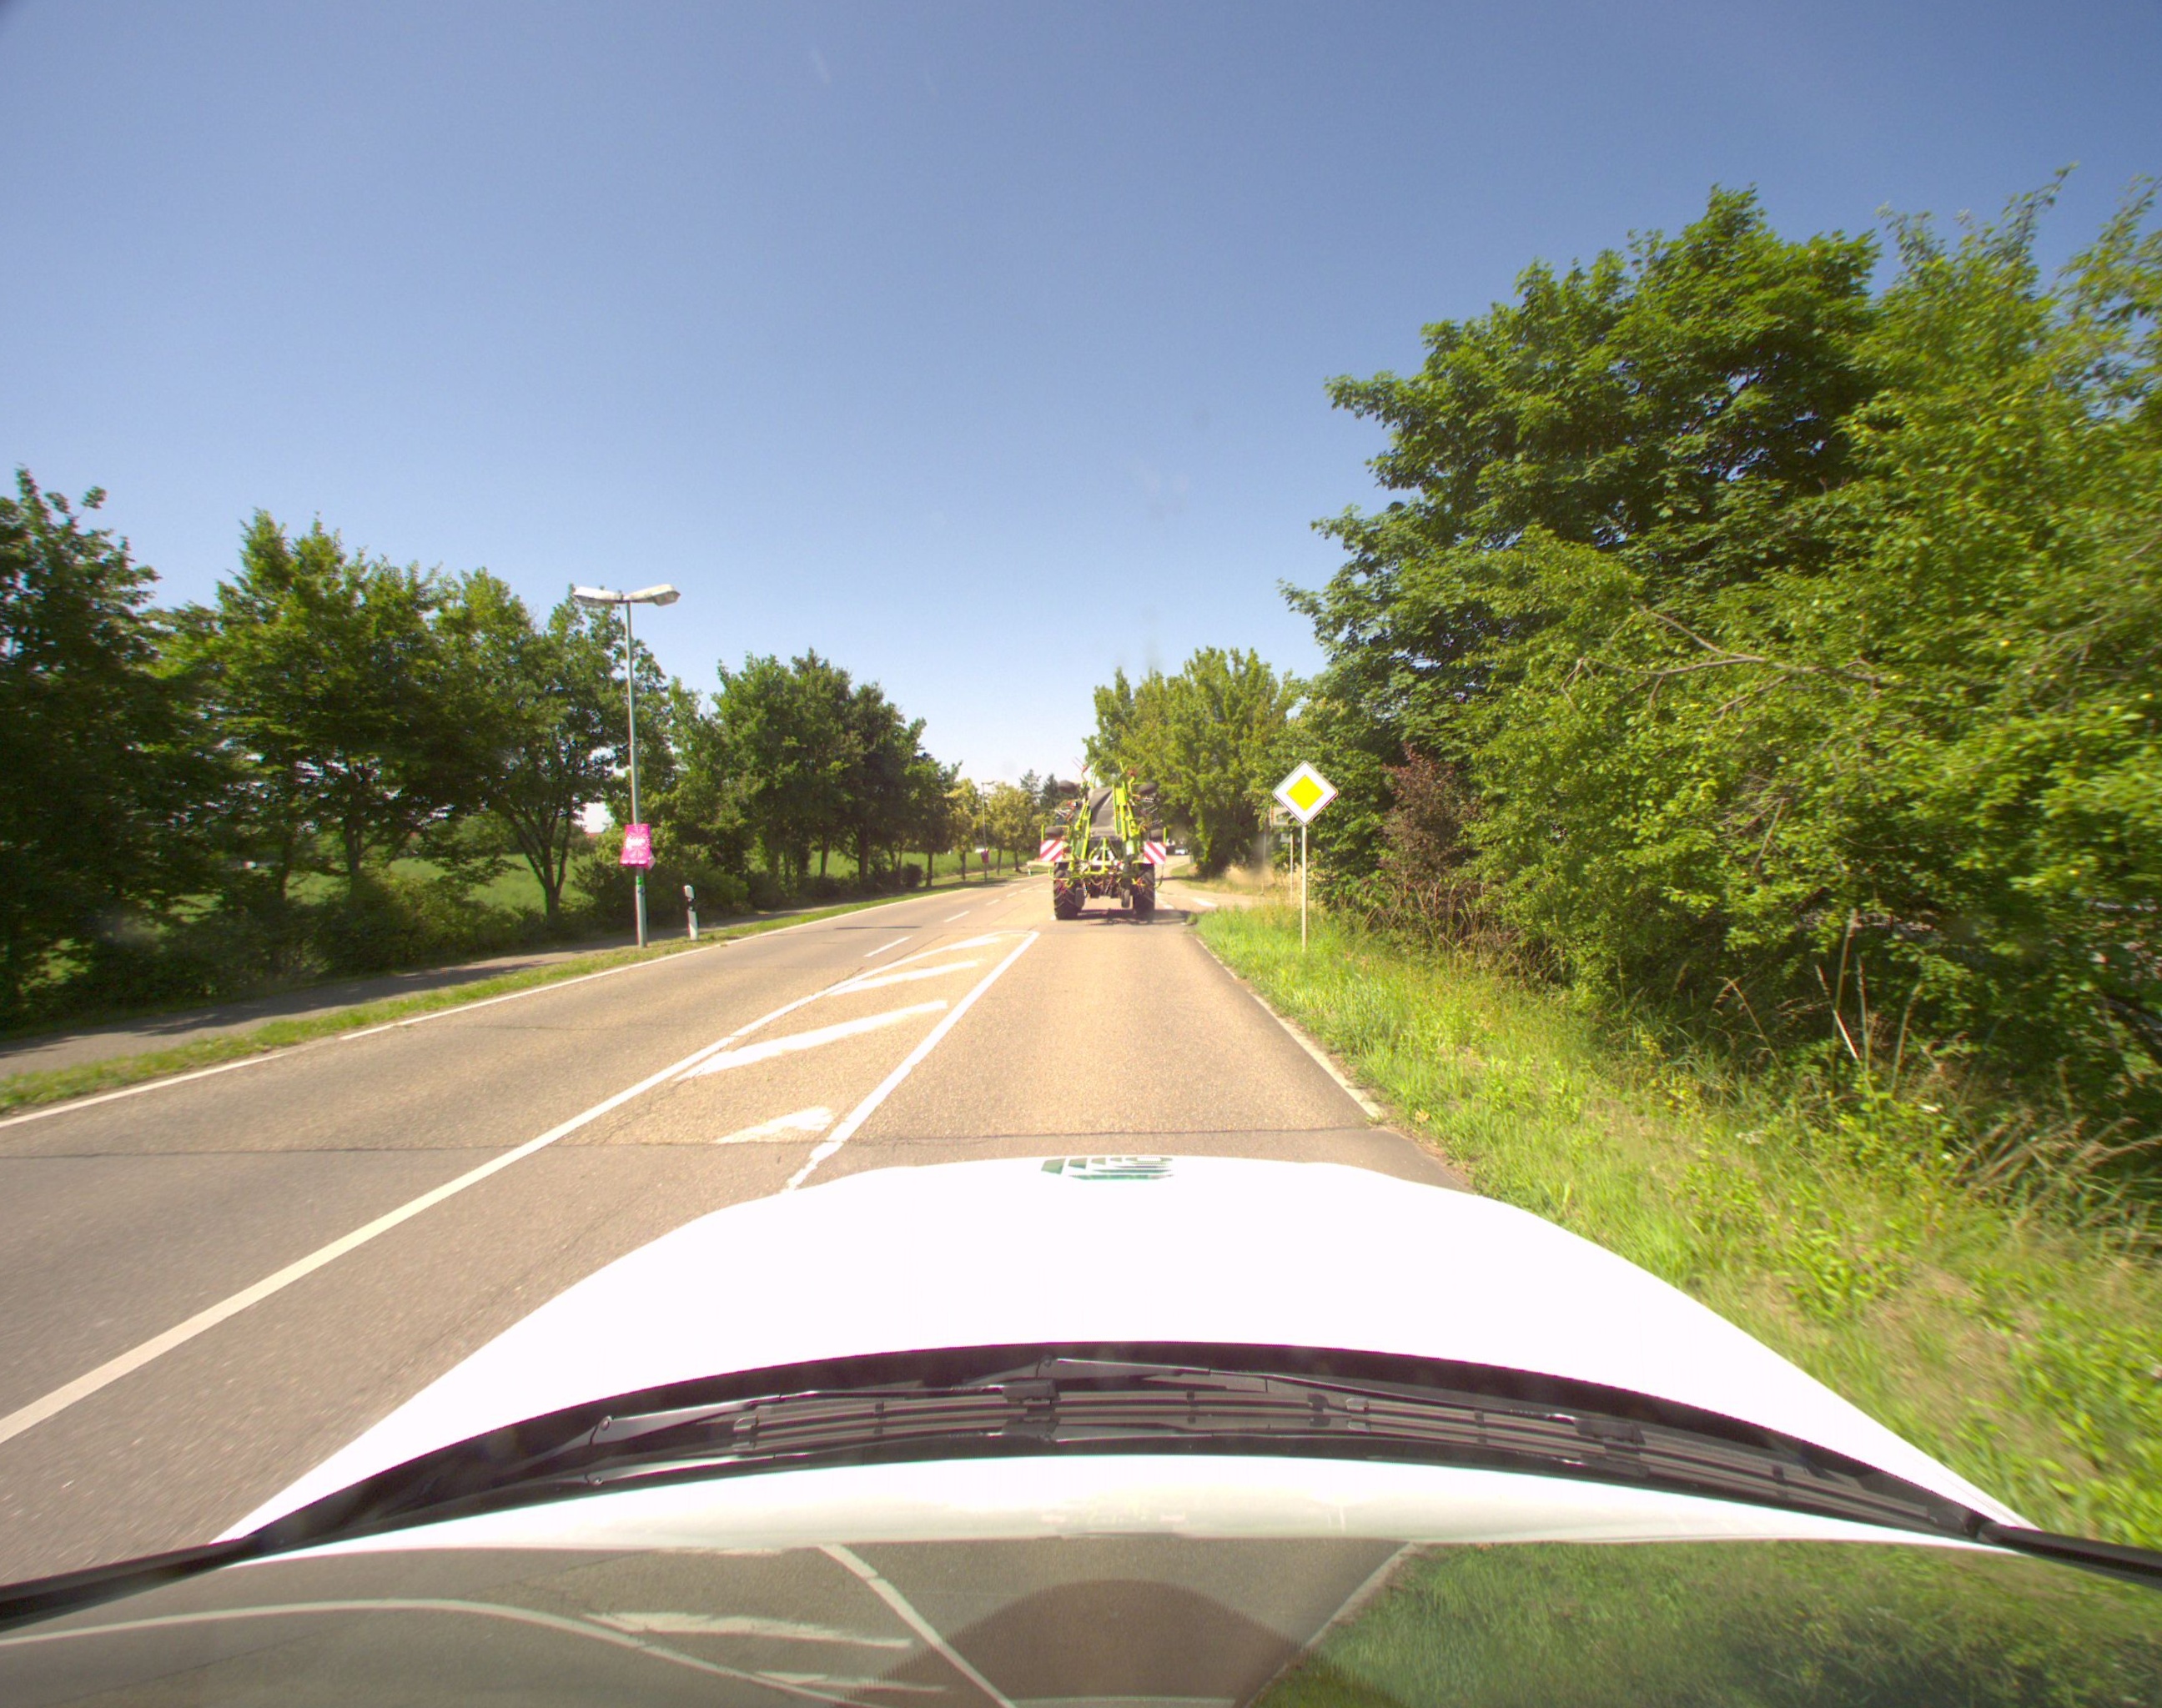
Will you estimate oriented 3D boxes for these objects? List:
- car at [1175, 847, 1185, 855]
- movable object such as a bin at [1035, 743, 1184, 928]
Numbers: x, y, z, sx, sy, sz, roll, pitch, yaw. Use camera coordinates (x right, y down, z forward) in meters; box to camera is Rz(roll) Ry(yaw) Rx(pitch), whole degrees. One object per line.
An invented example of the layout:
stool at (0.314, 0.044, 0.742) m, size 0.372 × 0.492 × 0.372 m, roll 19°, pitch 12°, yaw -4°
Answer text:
car at (18.983, -0.520, 156.586) m, size 1.639 × 1.433 × 3.907 m, roll 3°, pitch 2°, yaw 9°
movable object such as a bin at (0.584, -0.338, 20.702) m, size 2.843 × 3.541 × 9.699 m, roll -1°, pitch 0°, yaw 0°
